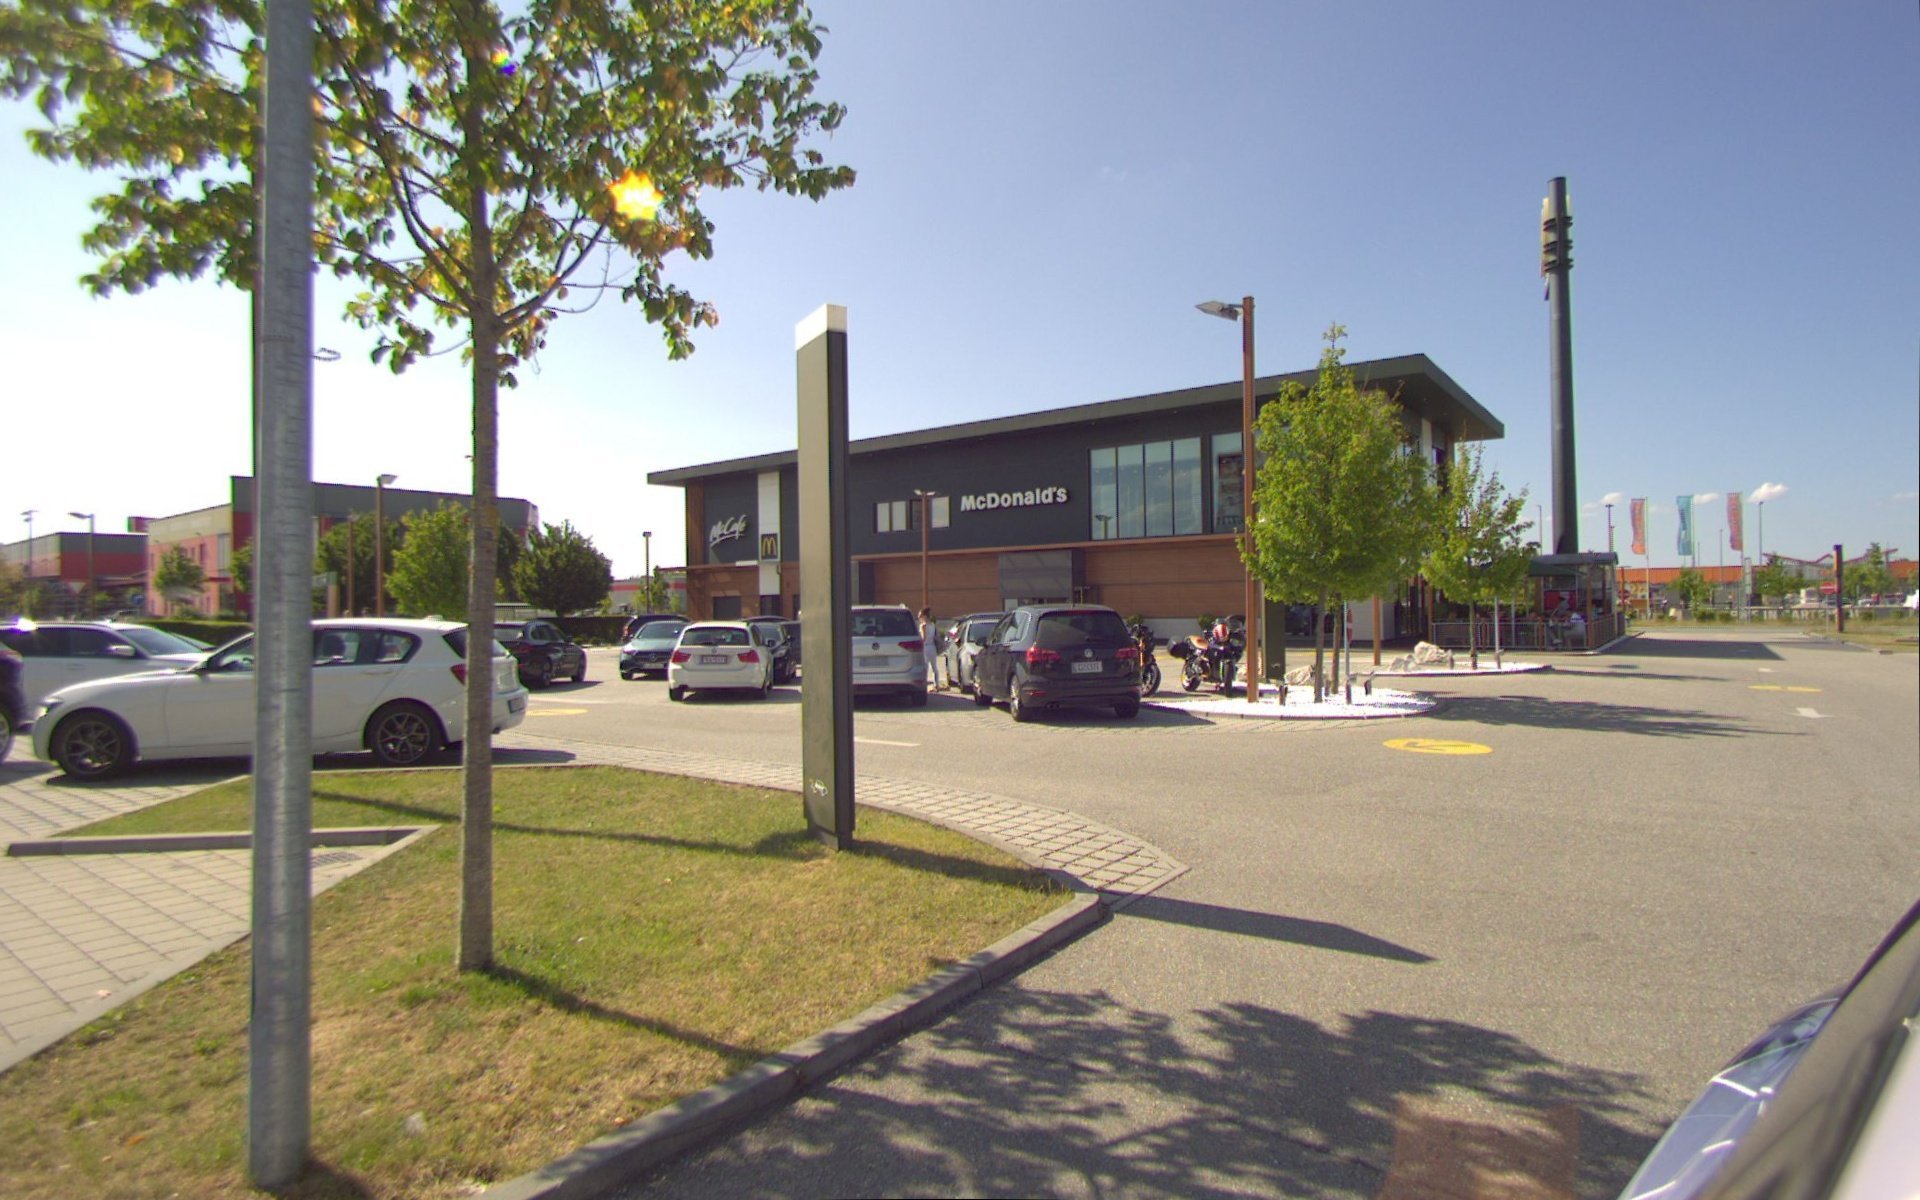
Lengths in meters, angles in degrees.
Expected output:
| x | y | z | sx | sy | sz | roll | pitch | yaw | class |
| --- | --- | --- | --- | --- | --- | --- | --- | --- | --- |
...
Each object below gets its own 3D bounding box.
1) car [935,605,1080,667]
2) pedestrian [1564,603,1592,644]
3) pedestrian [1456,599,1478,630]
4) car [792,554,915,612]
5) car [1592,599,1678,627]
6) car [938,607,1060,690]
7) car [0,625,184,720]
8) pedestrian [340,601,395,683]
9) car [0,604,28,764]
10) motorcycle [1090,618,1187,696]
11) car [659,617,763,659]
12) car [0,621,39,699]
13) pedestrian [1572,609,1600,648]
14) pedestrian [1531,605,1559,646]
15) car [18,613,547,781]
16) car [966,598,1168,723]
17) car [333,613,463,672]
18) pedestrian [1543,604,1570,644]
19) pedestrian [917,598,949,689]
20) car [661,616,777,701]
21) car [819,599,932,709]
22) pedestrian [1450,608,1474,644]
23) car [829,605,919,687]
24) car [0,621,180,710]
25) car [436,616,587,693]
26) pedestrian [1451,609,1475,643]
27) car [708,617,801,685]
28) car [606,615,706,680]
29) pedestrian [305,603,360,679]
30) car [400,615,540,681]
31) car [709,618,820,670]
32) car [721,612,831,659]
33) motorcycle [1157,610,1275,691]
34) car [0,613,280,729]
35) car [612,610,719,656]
| x | y | z | sx | sy | sz | roll | pitch | yaw | class |
| --- | --- | --- | --- | --- | --- | --- | --- | --- | --- |
| 1.421 | 1.077 | 31.368 | 4.141 | 1.623 | 1.794 | -3 | 1 | -9 | car |
| 19.389 | 0.731 | 31.756 | 0.724 | 1.274 | 0.566 | -2 | -2 | 32 | pedestrian |
| 18.138 | 0.523 | 36.193 | 0.569 | 1.115 | 0.648 | -2 | -2 | 36 | pedestrian |
| -3.760 | -0.578 | 35.534 | 4.058 | 1.946 | 1.761 | -1 | -1 | -13 | car |
| 41.503 | 0.818 | 62.333 | 1.773 | 1.683 | 4.004 | 0 | -1 | -28 | car |
| 0.663 | 0.971 | 20.822 | 1.798 | 1.466 | 4.666 | -1 | -2 | -6 | car |
| -15.315 | 1.148 | 16.436 | 3.917 | 1.421 | 1.823 | -1 | -1 | -9 | car |
| -14.339 | 0.999 | 24.507 | 1.011 | 1.940 | 0.901 | 0 | -2 | -41 | pedestrian |
| -10.165 | 0.824 | 8.294 | 1.721 | 1.596 | 4.092 | -1 | -1 | -8 | car |
| 3.076 | 0.969 | 17.745 | 0.803 | 1.247 | 2.145 | -1 | -2 | -15 | motorcycle |
| -9.772 | 1.460 | 39.720 | 3.695 | 1.462 | 1.677 | -1 | -1 | -25 | car |
| -21.087 | 1.208 | 19.731 | 4.261 | 1.531 | 1.782 | -1 | -1 | -22 | car |
| 20.325 | 0.923 | 32.869 | 0.724 | 1.274 | 0.566 | -2 | -2 | 32 | pedestrian |
| 18.391 | 0.795 | 31.801 | 0.710 | 1.274 | 0.518 | -2 | -2 | 33 | pedestrian |
| -6.585 | 0.891 | 10.333 | 4.099 | 1.444 | 1.847 | -1 | -1 | -10 | car |
| 1.394 | 0.794 | 14.989 | 1.857 | 1.556 | 4.197 | -1 | -1 | -10 | car |
| -15.044 | 1.106 | 27.340 | 1.672 | 1.444 | 3.907 | -1 | -1 | -6 | car |
| 19.610 | 0.788 | 33.266 | 0.710 | 1.274 | 0.518 | -2 | -2 | 33 | pedestrian |
| -0.523 | 0.845 | 19.740 | 0.599 | 1.735 | 0.563 | -1 | -1 | 0 | pedestrian |
| -4.519 | 1.058 | 19.464 | 1.757 | 1.426 | 4.086 | -1 | -1 | -8 | car |
| -1.575 | 0.867 | 17.569 | 1.712 | 1.661 | 4.072 | -1 | -1 | -8 | car |
| 16.335 | 0.838 | 32.930 | 0.630 | 1.138 | 0.518 | -2 | -2 | 33 | pedestrian |
| -1.864 | 0.934 | 22.204 | 1.776 | 1.614 | 4.002 | -1 | -1 | -4 | car |
| -17.015 | 1.173 | 18.549 | 3.916 | 1.508 | 1.824 | -1 | -1 | -19 | car |
| -9.940 | 1.134 | 22.813 | 1.943 | 1.530 | 4.422 | -1 | -1 | -7 | car |
| 16.689 | 0.862 | 33.549 | 0.630 | 1.138 | 0.518 | -2 | -2 | 33 | pedestrian |
| -4.932 | 1.170 | 24.745 | 1.792 | 1.467 | 4.079 | -1 | -1 | -6 | car |
| -7.992 | 1.193 | 27.000 | 1.849 | 1.530 | 4.548 | -1 | -1 | -7 | car |
| -16.529 | 1.072 | 26.683 | 0.886 | 1.940 | 0.917 | -1 | -1 | 3 | pedestrian |
| -12.507 | 1.172 | 26.165 | 1.943 | 1.530 | 4.422 | -1 | -1 | -7 | car |
| -6.174 | 1.348 | 31.882 | 3.344 | 1.501 | 1.571 | -1 | -1 | -13 | car |
| -6.881 | 1.304 | 37.780 | 3.763 | 1.653 | 1.761 | -1 | -1 | -19 | car |
| 4.370 | 0.858 | 17.501 | 1.049 | 1.267 | 2.255 | -2 | -2 | -11 | motorcycle |
| -12.464 | 0.959 | 14.269 | 4.379 | 1.490 | 1.917 | -1 | -1 | -12 | car |
| -12.208 | 1.333 | 42.057 | 3.960 | 1.727 | 1.676 | -1 | 0 | -31 | car |
